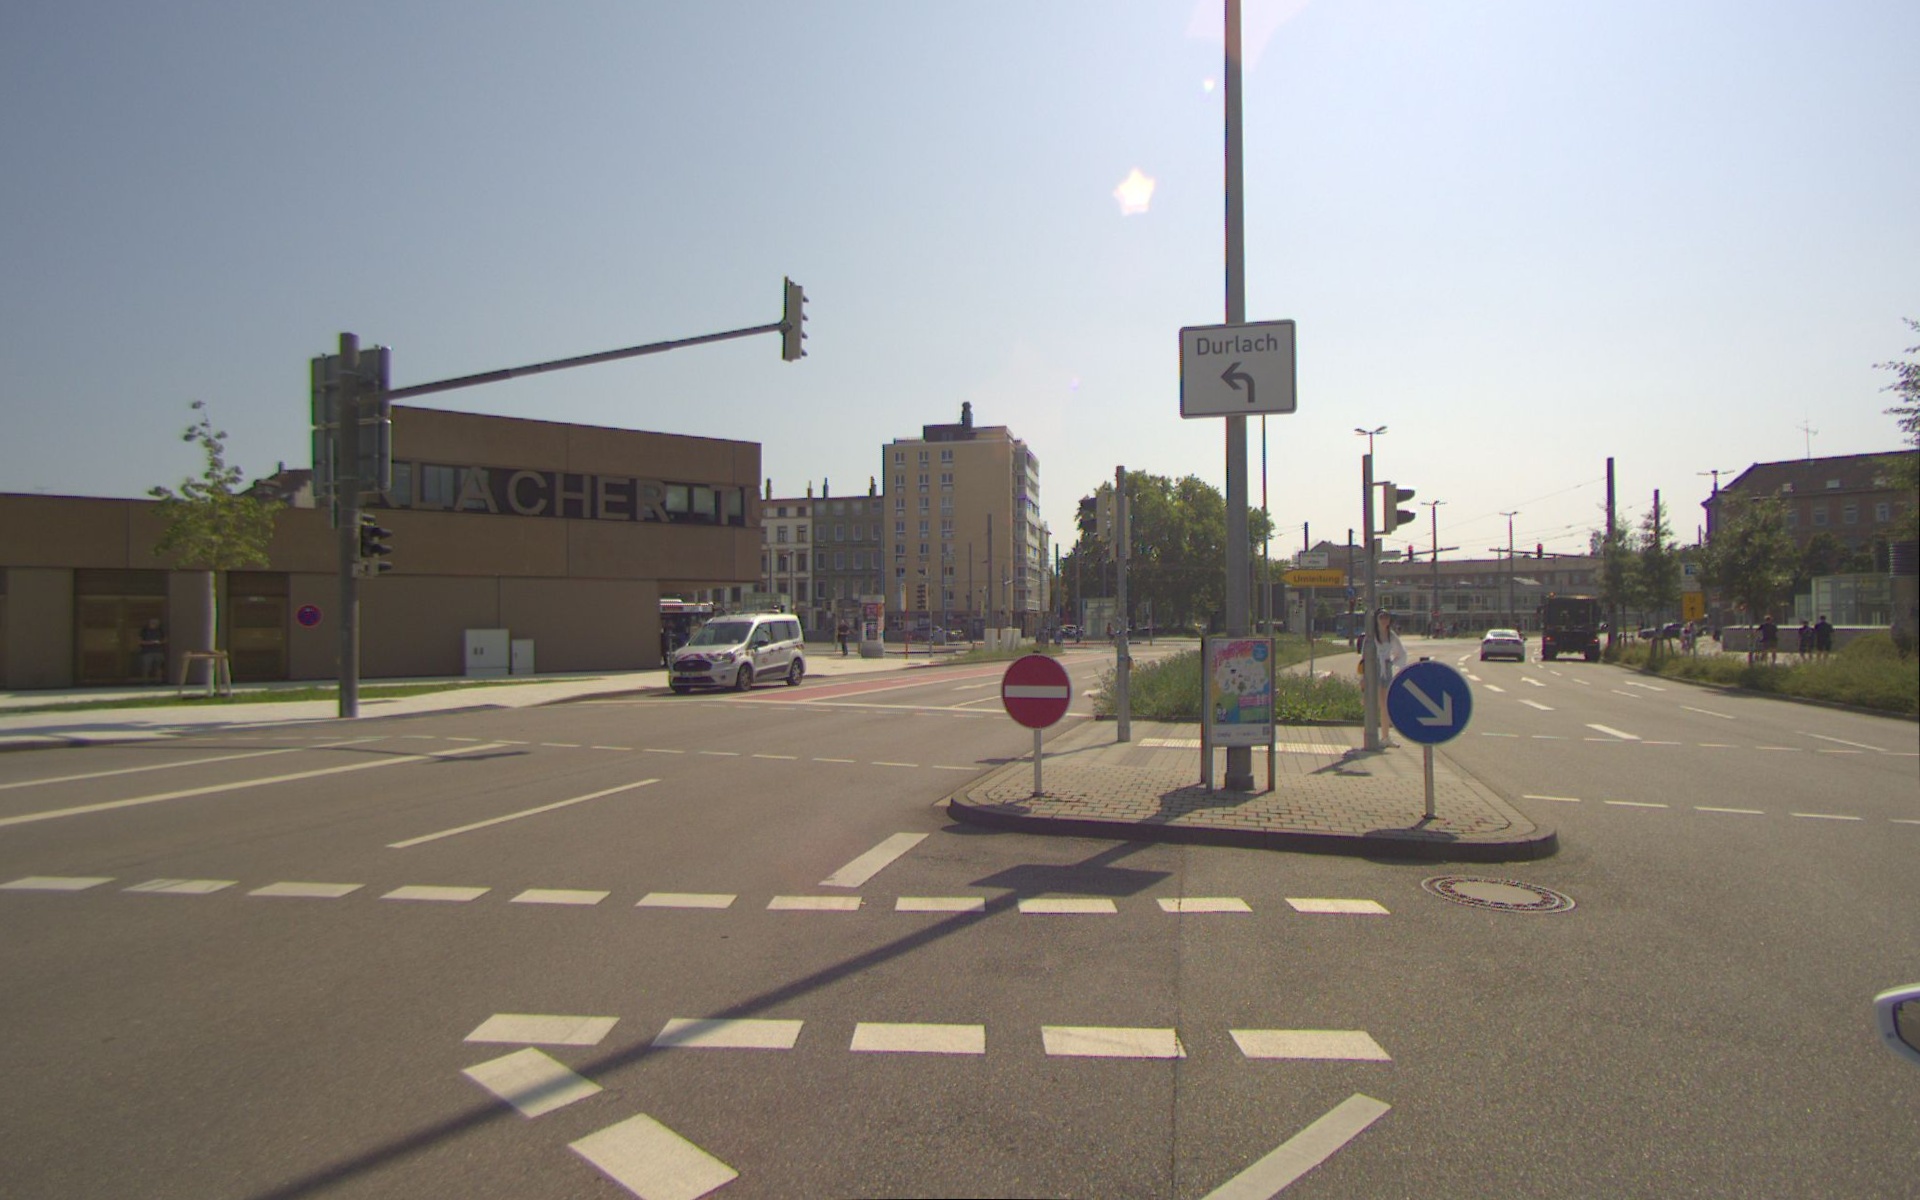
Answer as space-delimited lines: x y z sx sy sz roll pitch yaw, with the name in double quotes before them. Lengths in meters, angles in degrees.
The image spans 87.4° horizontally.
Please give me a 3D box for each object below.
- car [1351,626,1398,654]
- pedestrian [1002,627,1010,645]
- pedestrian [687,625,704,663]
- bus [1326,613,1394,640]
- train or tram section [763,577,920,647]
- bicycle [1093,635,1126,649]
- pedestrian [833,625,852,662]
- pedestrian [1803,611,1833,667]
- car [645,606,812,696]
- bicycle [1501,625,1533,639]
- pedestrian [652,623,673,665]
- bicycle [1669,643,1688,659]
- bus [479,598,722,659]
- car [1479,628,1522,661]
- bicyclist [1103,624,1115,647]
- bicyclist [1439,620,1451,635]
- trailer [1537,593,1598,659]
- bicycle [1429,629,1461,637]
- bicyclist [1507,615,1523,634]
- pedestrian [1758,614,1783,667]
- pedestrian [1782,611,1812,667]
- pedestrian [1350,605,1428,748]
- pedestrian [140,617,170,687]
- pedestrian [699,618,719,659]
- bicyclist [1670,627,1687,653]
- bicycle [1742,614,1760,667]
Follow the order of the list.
"car" 22.901 2.172 55.417 1.733 1.423 3.971 0 -1 32
"pedestrian" 4.211 3.259 91.496 0.637 1.654 0.815 -1 -1 12
"pedestrian" -10.844 1.792 41.205 0.566 1.558 0.487 1 -2 -36
"bus" 46.651 3.064 116.911 3.023 2.970 11.777 -1 -2 45
"train or tram section" -6.510 0.657 56.052 8.162 3.616 3.115 -1 -2 -35
"bicycle" 10.707 2.999 71.955 2.368 0.966 0.604 -1 -1 11
"pedestrian" -5.467 2.036 46.842 0.633 1.725 0.810 -1 -2 16
"pedestrian" 30.770 1.394 36.019 0.769 1.999 0.749 -1 -2 43
"car" -5.365 1.180 23.925 1.960 1.884 4.336 -3 -2 16
"bicycle" 47.067 2.688 84.951 0.956 1.194 2.831 0 -1 -4
"pedestrian" -11.553 1.704 38.996 0.684 1.635 0.634 1 -2 -29
"bicycle" 37.455 2.634 52.377 0.665 0.787 2.123 -1 -2 31
"bus" -19.646 1.577 55.681 12.356 3.111 3.077 1 -2 -35
"car" 25.757 2.072 47.814 1.732 1.474 4.418 0 -1 29
"bicyclist" 10.698 2.541 71.972 0.824 1.664 0.607 0 -1 11
"bicyclist" 50.241 2.825 103.989 0.888 1.521 0.865 -1 -1 10
"trailer" 30.498 1.284 50.609 2.426 3.047 6.314 1 -1 30
"bicycle" 50.195 3.423 103.994 2.884 0.737 0.865 -1 -1 10
"bicyclist" 47.049 2.076 85.139 0.956 1.676 0.662 0 -1 -4
"pedestrian" 29.330 1.454 36.341 0.652 1.885 0.789 -1 -2 40
"pedestrian" 29.851 1.385 35.825 0.769 1.999 0.749 -1 -2 43
"pedestrian" 5.355 0.929 12.538 0.691 1.717 0.604 -2 -2 45
"pedestrian" -19.738 1.270 24.629 0.531 1.700 0.563 0 -1 -35
"pedestrian" -10.955 1.674 43.864 0.687 1.786 0.548 -2 -2 42
"bicyclist" 37.372 2.063 52.260 0.665 1.337 0.682 -1 -2 31
"bicycle" 28.752 1.467 36.495 0.450 1.885 1.356 -1 -2 40
